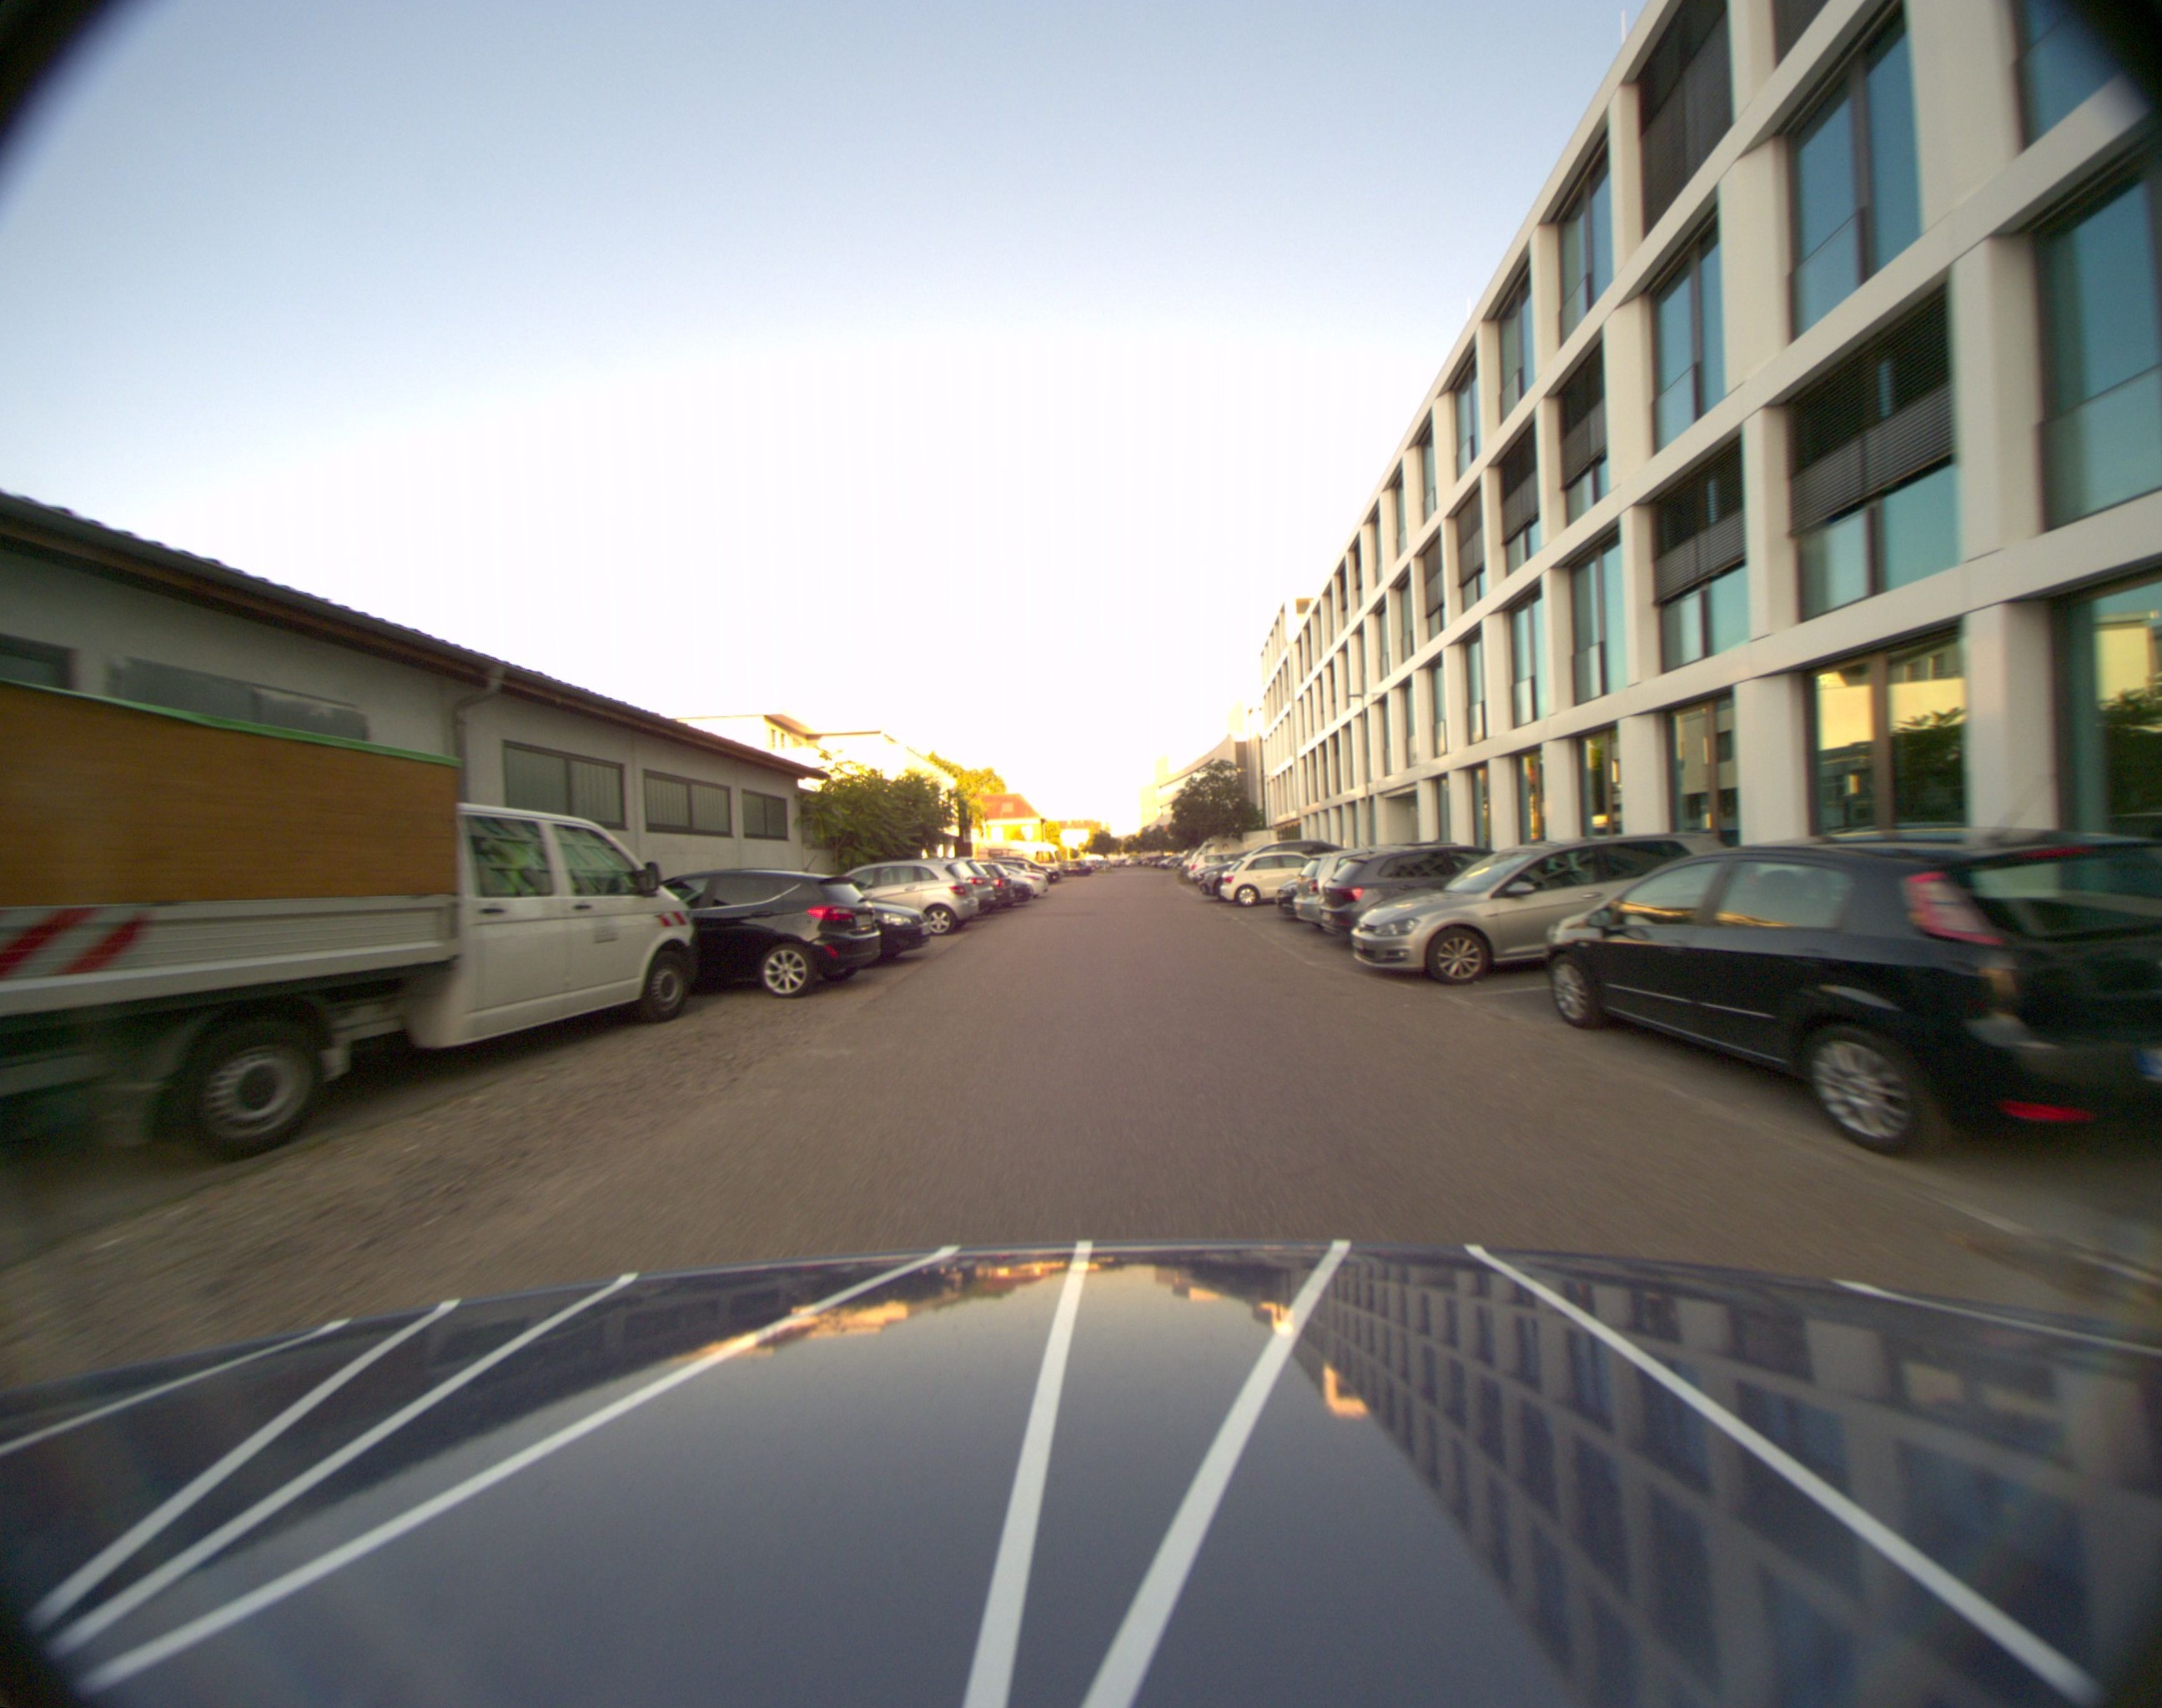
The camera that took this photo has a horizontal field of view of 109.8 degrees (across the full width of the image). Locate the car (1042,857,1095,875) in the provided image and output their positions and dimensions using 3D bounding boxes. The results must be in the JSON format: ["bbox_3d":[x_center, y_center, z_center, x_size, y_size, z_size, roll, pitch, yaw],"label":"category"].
[{"bbox_3d":[-1.013,0.983,63.253,4.325,1.326,1.896,-2,1,2],"label":"car"}]

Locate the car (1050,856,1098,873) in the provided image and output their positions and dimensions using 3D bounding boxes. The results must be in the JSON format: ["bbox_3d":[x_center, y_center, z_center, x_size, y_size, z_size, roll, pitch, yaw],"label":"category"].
[{"bbox_3d":[-0.573,0.894,65.650,4.065,1.399,1.896,-1,0,2],"label":"car"}]

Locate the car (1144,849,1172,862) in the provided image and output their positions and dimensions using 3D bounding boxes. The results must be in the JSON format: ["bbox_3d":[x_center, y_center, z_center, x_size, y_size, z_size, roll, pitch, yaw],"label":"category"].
[{"bbox_3d":[11.911,0.239,117.499,4.027,1.574,1.798,-4,0,-7],"label":"car"}]

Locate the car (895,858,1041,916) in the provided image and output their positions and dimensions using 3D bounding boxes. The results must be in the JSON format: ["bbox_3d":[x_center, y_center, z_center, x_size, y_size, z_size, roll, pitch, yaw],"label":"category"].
[{"bbox_3d":[-3.553,1.023,24.331,4.211,1.494,1.890,-4,1,5],"label":"car"}]

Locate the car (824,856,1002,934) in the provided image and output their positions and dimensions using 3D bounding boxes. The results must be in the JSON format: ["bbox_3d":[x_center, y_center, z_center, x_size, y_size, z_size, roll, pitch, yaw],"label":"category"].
[{"bbox_3d":[-4.137,0.998,19.181,3.994,1.610,1.827,-4,0,0],"label":"car"}]

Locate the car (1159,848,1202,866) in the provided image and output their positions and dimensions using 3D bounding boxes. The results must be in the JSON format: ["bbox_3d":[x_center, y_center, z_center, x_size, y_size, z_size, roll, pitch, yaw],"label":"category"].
[{"bbox_3d":[12.610,0.346,96.672,5.082,1.870,1.889,-4,0,-1],"label":"car"}]

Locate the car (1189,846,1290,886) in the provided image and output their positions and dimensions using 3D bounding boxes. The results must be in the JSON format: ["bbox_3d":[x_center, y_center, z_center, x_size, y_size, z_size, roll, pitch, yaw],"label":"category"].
[{"bbox_3d":[7.215,0.538,34.958,4.317,1.486,1.795,-4,0,7],"label":"car"}]

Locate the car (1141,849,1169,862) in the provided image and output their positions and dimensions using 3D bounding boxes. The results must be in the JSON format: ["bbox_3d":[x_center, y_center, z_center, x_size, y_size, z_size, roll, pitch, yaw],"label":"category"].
[{"bbox_3d":[11.674,0.238,119.735,4.027,1.574,1.798,-4,0,-7],"label":"car"}]

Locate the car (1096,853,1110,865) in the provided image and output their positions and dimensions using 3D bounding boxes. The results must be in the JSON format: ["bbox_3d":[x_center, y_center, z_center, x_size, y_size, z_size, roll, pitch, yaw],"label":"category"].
[{"bbox_3d":[3.005,0.694,103.144,1.770,1.454,4.368,-2,0,0],"label":"car"}]

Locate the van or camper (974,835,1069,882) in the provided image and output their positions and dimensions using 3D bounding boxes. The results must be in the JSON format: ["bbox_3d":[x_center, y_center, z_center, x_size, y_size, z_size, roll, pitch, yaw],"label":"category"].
[{"bbox_3d":[-3.809,0.257,49.593,5.794,2.848,2.487,-2,1,2],"label":"van or camper"}]

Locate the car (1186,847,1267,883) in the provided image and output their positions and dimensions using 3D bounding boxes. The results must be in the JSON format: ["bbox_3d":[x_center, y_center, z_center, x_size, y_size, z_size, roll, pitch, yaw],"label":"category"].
[{"bbox_3d":[7.129,0.540,37.519,3.716,1.486,1.708,-4,0,5],"label":"car"}]

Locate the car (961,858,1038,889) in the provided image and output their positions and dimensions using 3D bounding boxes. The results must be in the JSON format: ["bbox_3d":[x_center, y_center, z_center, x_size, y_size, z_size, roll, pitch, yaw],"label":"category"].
[{"bbox_3d":[-4.162,0.973,39.110,3.713,1.470,1.712,-2,0,2],"label":"car"}]

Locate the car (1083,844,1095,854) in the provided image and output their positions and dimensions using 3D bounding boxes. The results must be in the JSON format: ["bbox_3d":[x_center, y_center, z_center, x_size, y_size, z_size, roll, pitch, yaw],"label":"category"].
[{"bbox_3d":[1.177,-0.837,118.791,1.770,1.454,4.368,-2,0,0],"label":"car"}]

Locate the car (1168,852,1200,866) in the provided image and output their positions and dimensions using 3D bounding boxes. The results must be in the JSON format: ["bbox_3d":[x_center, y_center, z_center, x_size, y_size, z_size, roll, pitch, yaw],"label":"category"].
[{"bbox_3d":[12.391,0.592,91.352,3.653,1.416,1.726,-4,0,4],"label":"car"}]

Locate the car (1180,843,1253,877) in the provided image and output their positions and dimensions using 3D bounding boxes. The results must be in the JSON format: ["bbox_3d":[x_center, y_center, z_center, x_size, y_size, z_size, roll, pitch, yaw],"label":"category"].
[{"bbox_3d":[8.418,0.382,47.434,4.118,1.806,1.816,-4,0,1],"label":"car"}]

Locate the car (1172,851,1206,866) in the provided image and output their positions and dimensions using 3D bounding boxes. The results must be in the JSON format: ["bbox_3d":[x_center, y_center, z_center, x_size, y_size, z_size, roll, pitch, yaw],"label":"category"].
[{"bbox_3d":[12.595,0.527,88.749,3.653,1.538,1.726,-4,0,4],"label":"car"}]

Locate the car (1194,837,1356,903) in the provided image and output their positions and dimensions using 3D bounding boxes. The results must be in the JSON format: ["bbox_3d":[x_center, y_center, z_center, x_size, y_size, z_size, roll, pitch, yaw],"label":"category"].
[{"bbox_3d":[5.937,0.503,23.789,4.627,1.696,2.006,-4,0,9],"label":"car"}]

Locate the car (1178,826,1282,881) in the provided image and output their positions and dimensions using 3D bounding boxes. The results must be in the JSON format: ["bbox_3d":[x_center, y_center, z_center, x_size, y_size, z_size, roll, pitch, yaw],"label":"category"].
[{"bbox_3d":[8.162,-0.010,42.093,5.392,2.617,2.079,-4,0,6],"label":"car"}]

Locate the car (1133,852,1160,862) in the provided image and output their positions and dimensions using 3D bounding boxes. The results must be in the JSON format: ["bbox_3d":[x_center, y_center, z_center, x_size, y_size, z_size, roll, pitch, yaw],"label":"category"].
[{"bbox_3d":[10.779,0.494,124.605,4.027,1.340,1.798,-4,0,-7],"label":"car"}]

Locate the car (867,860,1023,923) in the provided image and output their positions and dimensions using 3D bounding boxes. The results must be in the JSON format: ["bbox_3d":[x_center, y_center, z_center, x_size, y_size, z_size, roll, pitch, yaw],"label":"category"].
[{"bbox_3d":[-3.818,1.059,21.811,3.993,1.437,1.827,-4,1,4],"label":"car"}]

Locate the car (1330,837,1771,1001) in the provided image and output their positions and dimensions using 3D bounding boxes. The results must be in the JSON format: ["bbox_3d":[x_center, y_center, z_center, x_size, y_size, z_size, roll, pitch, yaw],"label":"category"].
[{"bbox_3d":[5.143,0.706,8.809,3.934,1.502,1.688,-4,0,6],"label":"car"}]

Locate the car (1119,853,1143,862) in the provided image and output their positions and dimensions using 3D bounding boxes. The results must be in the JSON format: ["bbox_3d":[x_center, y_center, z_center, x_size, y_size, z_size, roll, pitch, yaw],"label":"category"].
[{"bbox_3d":[8.867,0.678,134.984,4.027,1.340,1.798,-4,0,-7],"label":"car"}]

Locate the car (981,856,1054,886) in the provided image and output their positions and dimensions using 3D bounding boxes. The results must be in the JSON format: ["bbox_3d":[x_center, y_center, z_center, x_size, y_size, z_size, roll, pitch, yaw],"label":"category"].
[{"bbox_3d":[-3.582,0.941,43.516,4.014,1.554,1.712,-2,0,0],"label":"car"}]

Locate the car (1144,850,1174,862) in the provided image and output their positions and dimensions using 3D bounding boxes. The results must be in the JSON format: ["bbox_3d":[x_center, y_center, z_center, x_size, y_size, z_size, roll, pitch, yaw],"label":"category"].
[{"bbox_3d":[11.757,0.286,114.668,4.027,1.574,1.798,-4,0,-7],"label":"car"}]

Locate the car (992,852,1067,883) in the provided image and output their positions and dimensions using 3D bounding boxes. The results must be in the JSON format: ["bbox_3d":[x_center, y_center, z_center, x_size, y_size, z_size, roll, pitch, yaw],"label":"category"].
[{"bbox_3d":[-3.129,0.837,46.561,4.249,1.731,1.969,-2,1,8],"label":"car"}]

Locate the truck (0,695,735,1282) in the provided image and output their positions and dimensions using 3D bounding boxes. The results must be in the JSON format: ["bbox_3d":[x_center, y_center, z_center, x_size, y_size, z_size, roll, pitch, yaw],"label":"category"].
[{"bbox_3d":[-4.946,0.572,5.306,2.102,2.187,5.713,-2,-1,3],"label":"truck"}]

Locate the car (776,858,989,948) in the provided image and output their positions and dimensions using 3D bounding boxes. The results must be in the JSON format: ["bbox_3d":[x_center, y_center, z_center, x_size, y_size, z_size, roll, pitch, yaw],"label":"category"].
[{"bbox_3d":[-4.194,1.016,16.542,3.993,1.600,1.939,-4,0,2],"label":"car"}]

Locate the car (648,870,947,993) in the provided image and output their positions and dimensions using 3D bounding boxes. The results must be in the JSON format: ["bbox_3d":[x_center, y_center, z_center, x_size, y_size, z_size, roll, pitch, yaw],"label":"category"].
[{"bbox_3d":[-4.163,1.112,11.609,3.768,1.436,1.845,-4,1,2],"label":"car"}]

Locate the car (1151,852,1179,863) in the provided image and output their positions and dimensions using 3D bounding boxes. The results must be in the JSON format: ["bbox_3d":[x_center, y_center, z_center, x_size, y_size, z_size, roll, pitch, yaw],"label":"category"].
[{"bbox_3d":[12.018,0.528,109.005,3.811,1.352,1.799,-4,0,-1],"label":"car"}]

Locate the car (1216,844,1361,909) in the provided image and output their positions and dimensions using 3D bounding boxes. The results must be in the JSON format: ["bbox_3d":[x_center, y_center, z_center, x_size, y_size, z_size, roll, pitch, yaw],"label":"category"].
[{"bbox_3d":[5.689,0.611,21.212,3.673,1.502,1.697,-4,0,9],"label":"car"}]

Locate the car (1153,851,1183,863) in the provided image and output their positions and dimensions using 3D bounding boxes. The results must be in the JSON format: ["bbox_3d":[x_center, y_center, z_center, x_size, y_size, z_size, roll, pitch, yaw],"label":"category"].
[{"bbox_3d":[12.134,0.451,106.326,3.811,1.352,1.799,-4,0,-1],"label":"car"}]

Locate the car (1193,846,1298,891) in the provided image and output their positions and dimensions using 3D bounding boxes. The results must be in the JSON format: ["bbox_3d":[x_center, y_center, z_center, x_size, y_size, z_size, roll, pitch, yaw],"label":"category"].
[{"bbox_3d":[6.457,0.565,30.097,3.790,1.513,1.694,-4,0,4],"label":"car"}]

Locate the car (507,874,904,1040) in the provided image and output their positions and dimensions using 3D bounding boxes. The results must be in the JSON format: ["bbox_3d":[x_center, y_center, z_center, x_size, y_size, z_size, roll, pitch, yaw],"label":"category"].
[{"bbox_3d":[-4.344,1.164,9.216,3.767,1.527,1.891,-4,2,5],"label":"car"}]

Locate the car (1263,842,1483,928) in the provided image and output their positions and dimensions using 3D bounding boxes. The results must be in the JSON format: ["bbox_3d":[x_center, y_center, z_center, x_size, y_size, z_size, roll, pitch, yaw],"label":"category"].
[{"bbox_3d":[6.058,0.637,16.172,3.972,1.502,1.797,-4,0,7],"label":"car"}]

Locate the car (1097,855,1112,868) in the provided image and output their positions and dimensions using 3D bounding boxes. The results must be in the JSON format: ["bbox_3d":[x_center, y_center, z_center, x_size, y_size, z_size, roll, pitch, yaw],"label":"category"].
[{"bbox_3d":[2.863,0.848,90.923,1.680,1.454,4.369,-2,0,3],"label":"car"}]

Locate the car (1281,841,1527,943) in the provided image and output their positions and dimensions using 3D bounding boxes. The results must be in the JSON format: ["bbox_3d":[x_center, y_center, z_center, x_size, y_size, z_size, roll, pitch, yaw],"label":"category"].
[{"bbox_3d":[5.647,0.663,13.680,3.662,1.502,1.688,-4,0,6],"label":"car"}]

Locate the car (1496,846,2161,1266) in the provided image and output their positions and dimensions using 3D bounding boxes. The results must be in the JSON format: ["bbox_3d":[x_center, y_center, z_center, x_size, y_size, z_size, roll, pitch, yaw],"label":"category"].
[{"bbox_3d":[4.581,0.753,4.909,1.652,1.430,4.203,-6,0,5],"label":"car"}]

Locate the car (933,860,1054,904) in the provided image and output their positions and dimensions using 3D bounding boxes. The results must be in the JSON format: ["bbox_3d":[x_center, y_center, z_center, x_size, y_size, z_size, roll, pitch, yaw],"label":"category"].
[{"bbox_3d":[-3.313,1.069,29.177,4.211,1.359,1.824,-4,0,7],"label":"car"}]

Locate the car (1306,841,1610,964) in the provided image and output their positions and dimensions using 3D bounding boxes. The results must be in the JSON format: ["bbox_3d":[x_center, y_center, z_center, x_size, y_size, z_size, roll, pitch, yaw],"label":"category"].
[{"bbox_3d":[5.478,0.697,11.448,3.662,1.502,1.688,-4,0,6],"label":"car"}]

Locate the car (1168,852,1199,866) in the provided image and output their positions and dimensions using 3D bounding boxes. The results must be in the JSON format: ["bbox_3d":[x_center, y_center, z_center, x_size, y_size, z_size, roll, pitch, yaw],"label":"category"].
[{"bbox_3d":[12.676,0.565,93.987,3.654,1.416,1.726,-4,0,3],"label":"car"}]
